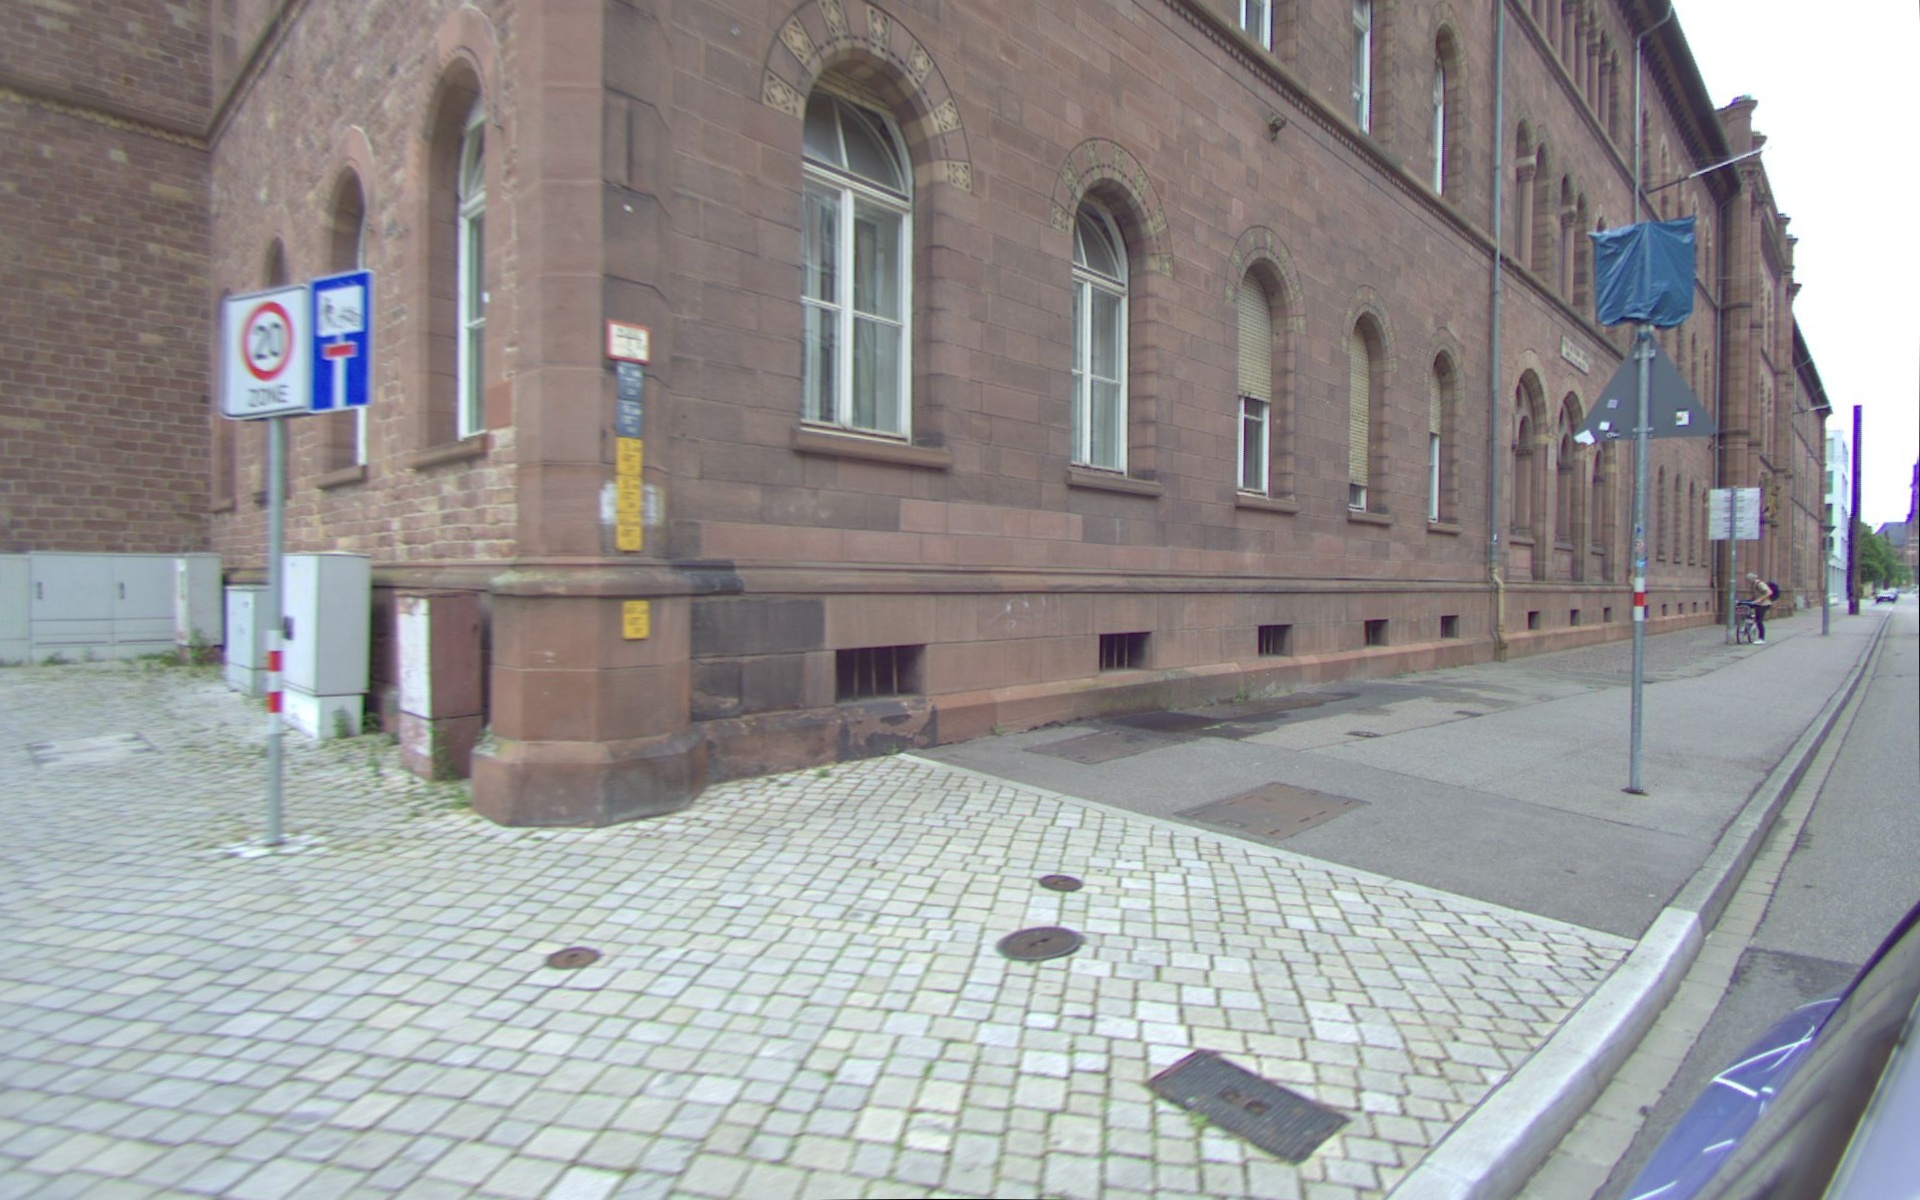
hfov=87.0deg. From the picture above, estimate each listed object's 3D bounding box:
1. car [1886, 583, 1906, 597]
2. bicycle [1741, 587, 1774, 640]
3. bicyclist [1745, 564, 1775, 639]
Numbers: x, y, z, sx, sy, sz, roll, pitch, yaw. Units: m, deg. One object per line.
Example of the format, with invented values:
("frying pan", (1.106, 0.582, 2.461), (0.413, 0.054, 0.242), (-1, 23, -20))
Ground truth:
("car", (121.803, -1.302, 131.673), (1.830, 1.683, 3.937), (0, 1, 44))
("bicycle", (20.413, 0.323, 25.881), (0.445, 1.292, 2.192), (3, 3, 43))
("bicyclist", (20.543, 0.025, 25.997), (0.529, 1.881, 0.443), (2, 2, 43))
